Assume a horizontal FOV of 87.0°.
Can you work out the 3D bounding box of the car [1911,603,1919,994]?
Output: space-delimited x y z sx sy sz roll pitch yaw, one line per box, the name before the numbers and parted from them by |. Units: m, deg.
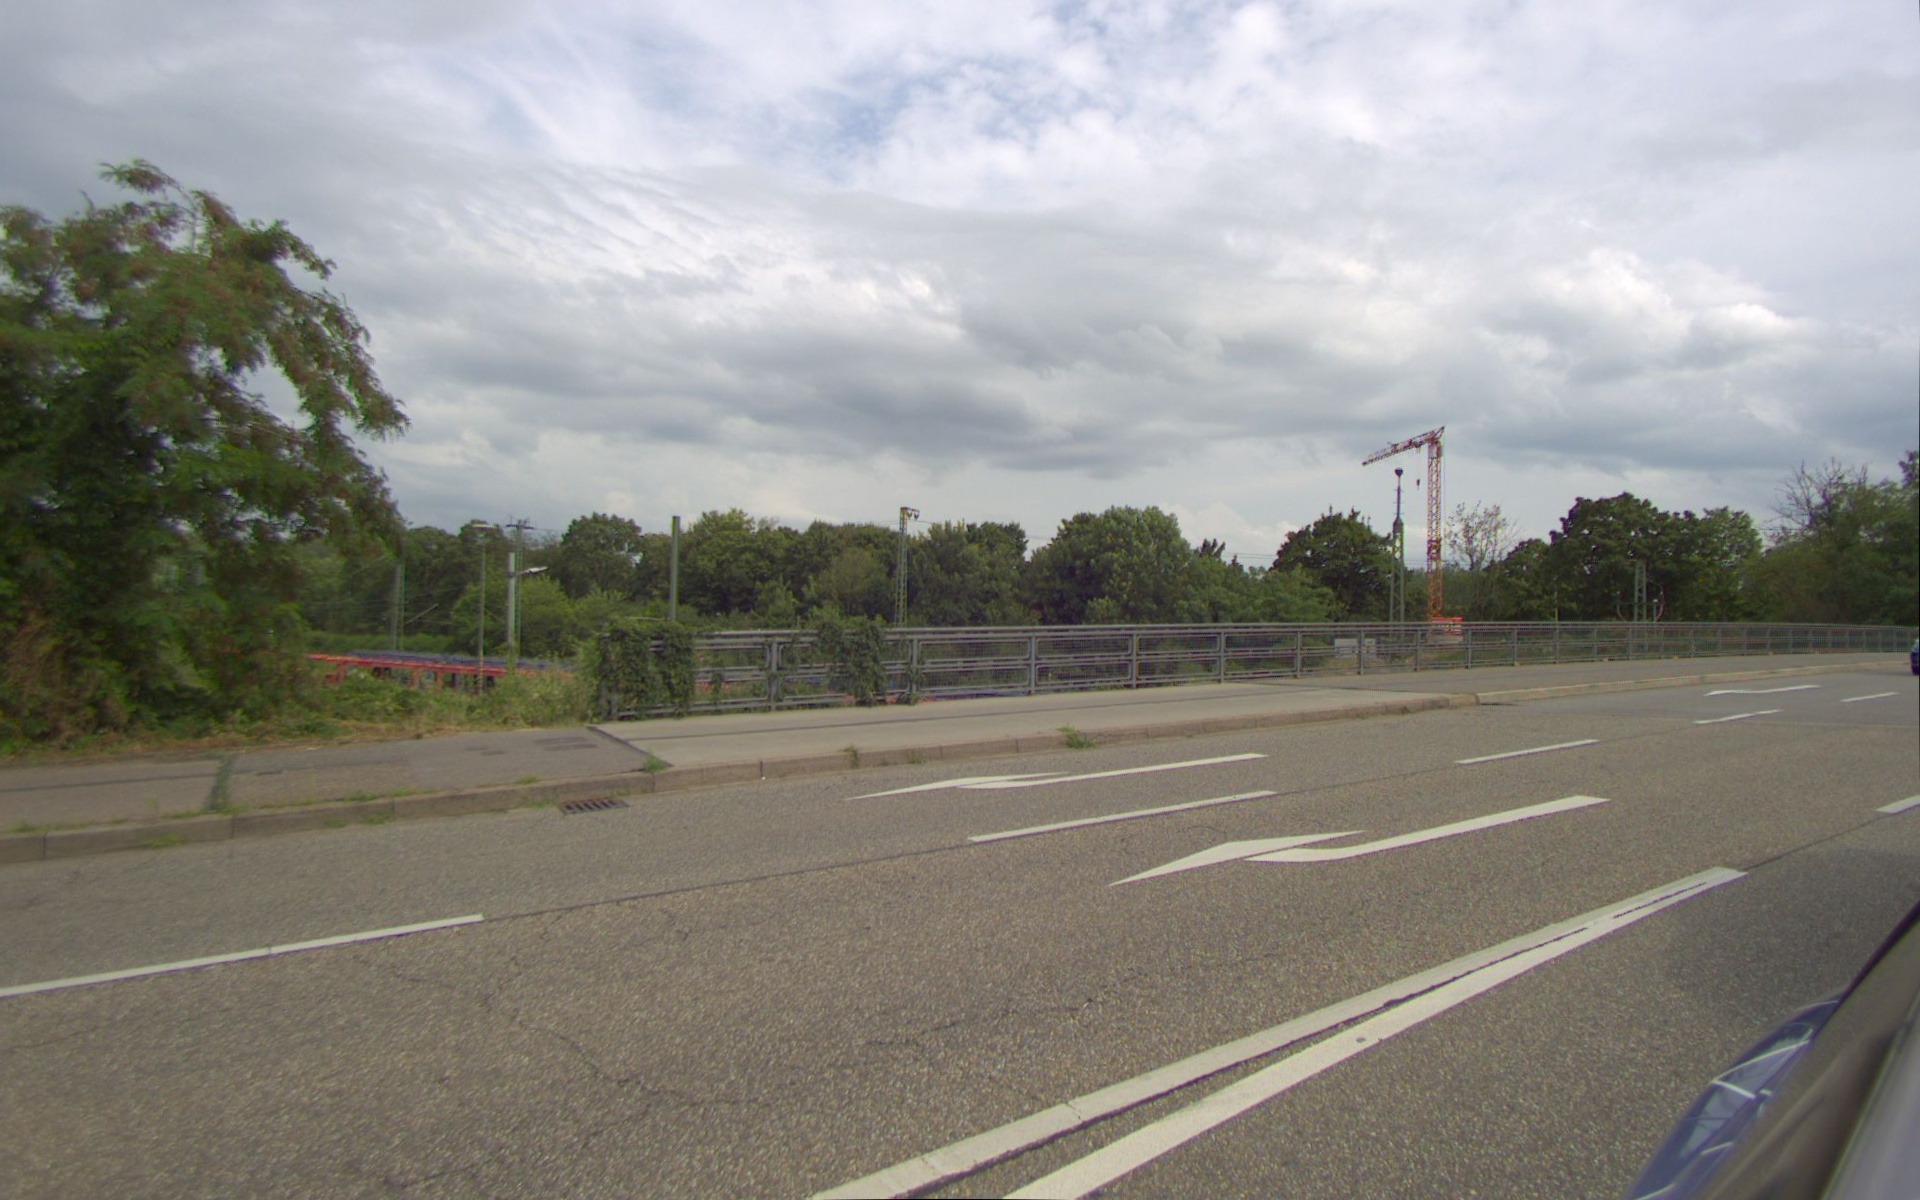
car | 5.804 0.700 4.153 4.639 1.381 1.854 0 0 -35
